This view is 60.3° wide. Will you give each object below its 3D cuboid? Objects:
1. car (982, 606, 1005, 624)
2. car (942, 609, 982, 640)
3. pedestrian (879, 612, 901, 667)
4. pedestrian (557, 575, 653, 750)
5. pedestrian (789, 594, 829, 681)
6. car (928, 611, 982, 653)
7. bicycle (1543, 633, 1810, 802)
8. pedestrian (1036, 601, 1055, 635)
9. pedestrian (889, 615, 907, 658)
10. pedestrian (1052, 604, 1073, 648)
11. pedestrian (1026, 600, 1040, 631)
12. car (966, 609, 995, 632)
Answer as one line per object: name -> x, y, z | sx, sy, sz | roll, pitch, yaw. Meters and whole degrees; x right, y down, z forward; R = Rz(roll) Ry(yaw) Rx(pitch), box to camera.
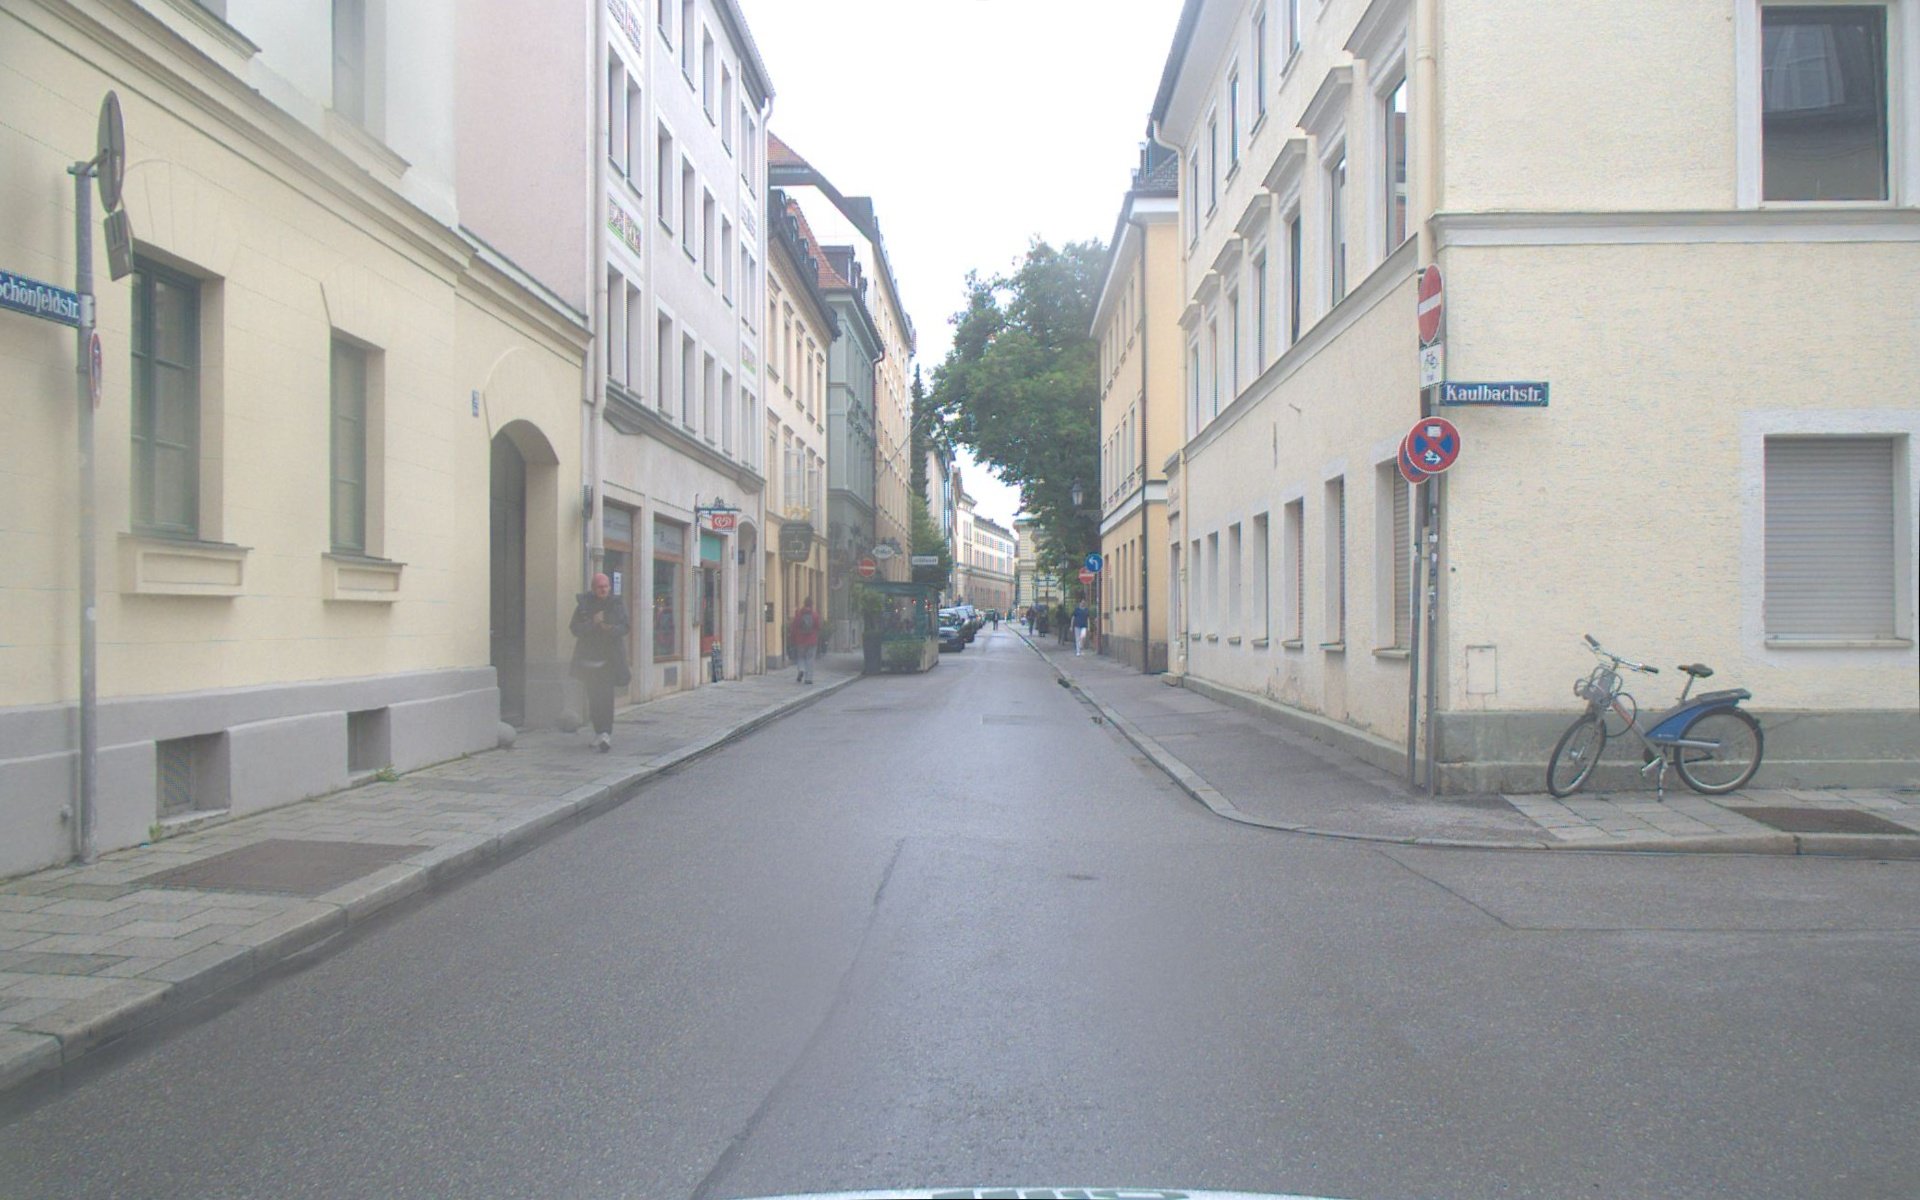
car -> 2.793, 1.278, 139.012 | 1.742, 1.492, 3.543 | 1, 0, 4
car -> 0.111, 1.201, 81.898 | 1.742, 1.492, 3.543 | 1, 0, 4
pedestrian -> -1.724, 0.973, 40.778 | 0.499, 1.350, 0.630 | 1, -1, -1
pedestrian -> -3.736, 0.633, 17.475 | 0.793, 1.786, 0.990 | 0, 1, -1
pedestrian -> -3.084, 0.763, 33.791 | 0.750, 1.738, 0.785 | -1, -1, -1
car -> -0.173, 1.175, 62.257 | 1.742, 1.492, 3.664 | 1, 0, 4
bicycle -> 5.286, 0.859, 12.252 | 1.721, 1.164, 0.586 | -1, 2, 1
pedestrian -> 4.752, 0.995, 91.939 | 0.994, 1.834, 1.349 | 1, -1, 2
pedestrian -> -1.807, 1.059, 48.203 | 0.499, 1.259, 0.630 | 1, -1, -1
pedestrian -> 4.386, 1.107, 70.910 | 0.862, 1.834, 1.046 | 1, -1, 2
pedestrian -> 4.335, 0.921, 98.419 | 0.777, 1.834, 0.903 | 1, -1, 2
car -> 1.404, 1.367, 111.610 | 1.742, 1.492, 3.543 | 1, 0, 4
